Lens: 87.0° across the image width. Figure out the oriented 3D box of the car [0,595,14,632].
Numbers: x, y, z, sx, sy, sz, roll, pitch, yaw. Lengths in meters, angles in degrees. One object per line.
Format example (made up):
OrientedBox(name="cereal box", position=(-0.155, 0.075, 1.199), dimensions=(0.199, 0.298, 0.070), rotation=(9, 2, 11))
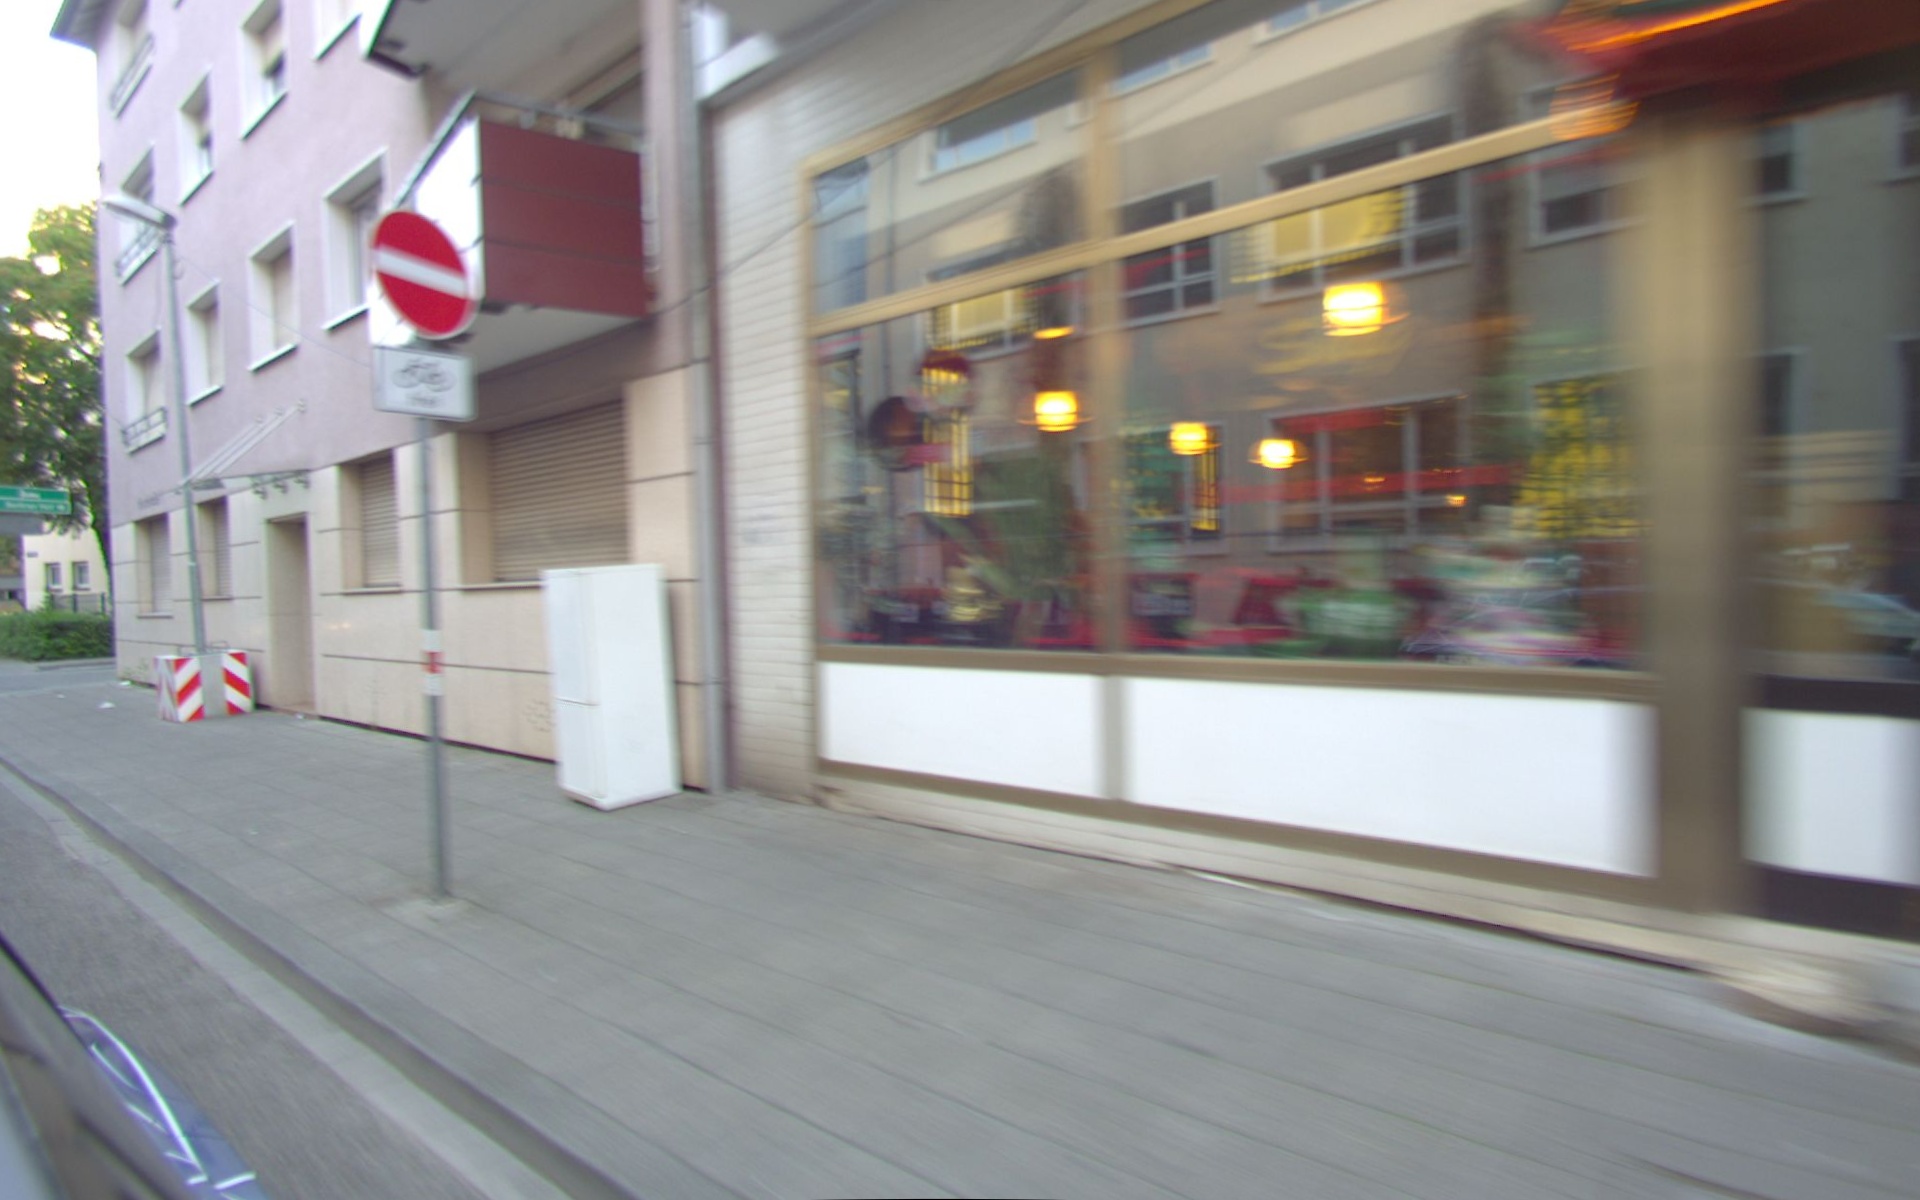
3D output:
OrientedBox(name="car", position=(-55.808, 0.724, 56.801), dimensions=(4.294, 2.092, 2.215), rotation=(1, 1, 19))
